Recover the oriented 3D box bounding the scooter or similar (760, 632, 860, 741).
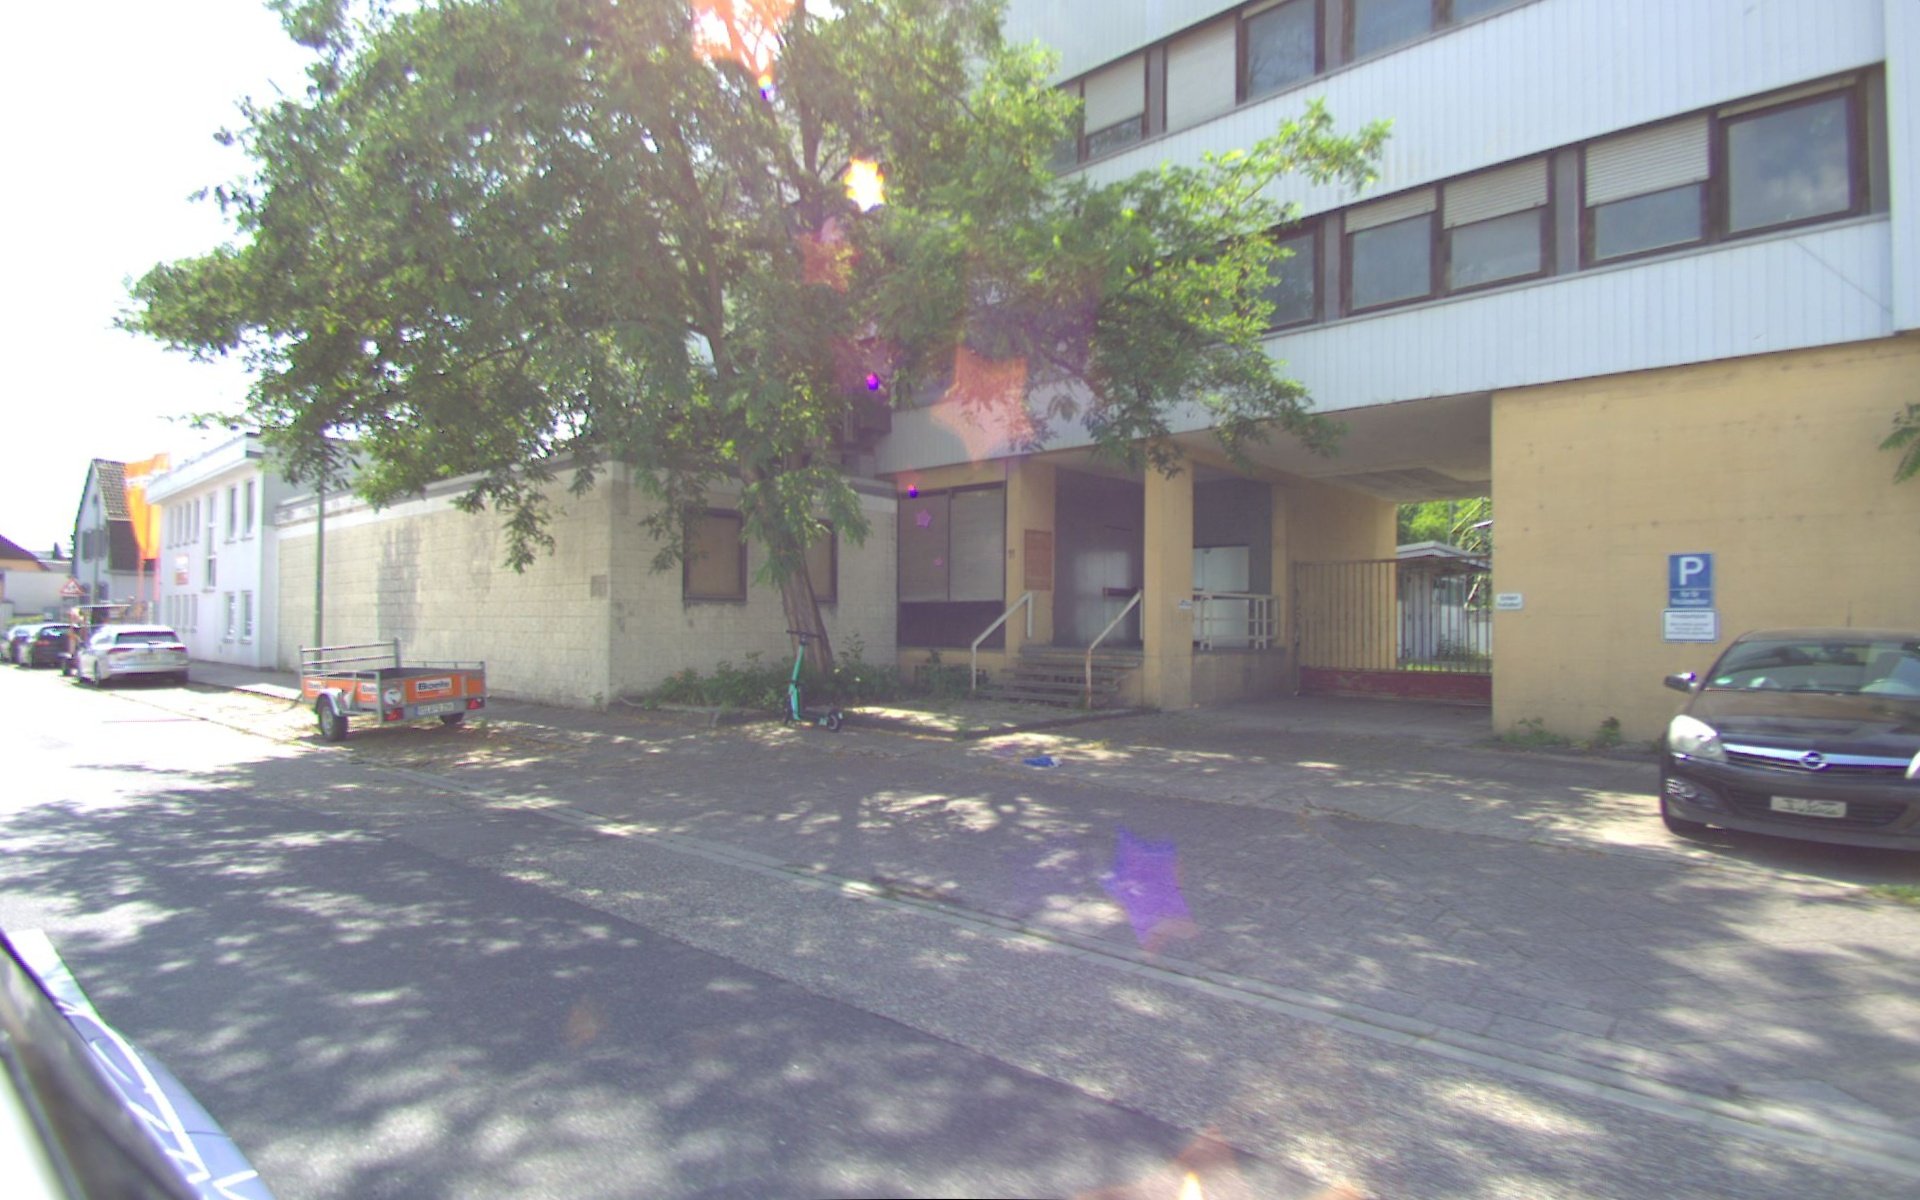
[{"bbox_3d":[-1.917,1.063,12.877,1.360,1.288,0.477,-1,0,42],"label":"scooter or similar"}]

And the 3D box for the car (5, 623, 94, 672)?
[{"bbox_3d":[-30.007,1.509,33.329,4.221,1.466,1.656,-1,0,41],"label":"car"}]

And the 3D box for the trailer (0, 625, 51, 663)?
[{"bbox_3d":[-37.740,1.708,40.202,5.047,1.387,1.749,-1,0,40],"label":"trailer"}]

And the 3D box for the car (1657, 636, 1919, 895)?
[{"bbox_3d":[6.363,0.964,7.086,1.795,1.372,3.947,-1,-2,44],"label":"car"}]

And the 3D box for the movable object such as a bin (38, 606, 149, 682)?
[{"bbox_3d":[-24.848,1.212,28.961,5.135,1.933,1.597,-1,1,41],"label":"movable object such as a bin"}]

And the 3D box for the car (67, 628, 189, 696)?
[{"bbox_3d":[-20.495,1.446,24.865,4.512,1.466,1.655,-1,0,42],"label":"car"}]

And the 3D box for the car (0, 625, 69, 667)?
[{"bbox_3d":[-33.861,1.634,36.797,3.881,1.387,1.656,-1,0,40],"label":"car"}]

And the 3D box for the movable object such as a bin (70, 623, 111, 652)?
[{"bbox_3d":[-43.561,1.868,50.702,1.186,1.438,1.304,-1,-3,36],"label":"movable object such as a bin"}]

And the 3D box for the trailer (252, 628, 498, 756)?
[{"bbox_3d":[-8.422,1.182,14.401,4.334,1.450,1.748,-1,1,42],"label":"trailer"}]
